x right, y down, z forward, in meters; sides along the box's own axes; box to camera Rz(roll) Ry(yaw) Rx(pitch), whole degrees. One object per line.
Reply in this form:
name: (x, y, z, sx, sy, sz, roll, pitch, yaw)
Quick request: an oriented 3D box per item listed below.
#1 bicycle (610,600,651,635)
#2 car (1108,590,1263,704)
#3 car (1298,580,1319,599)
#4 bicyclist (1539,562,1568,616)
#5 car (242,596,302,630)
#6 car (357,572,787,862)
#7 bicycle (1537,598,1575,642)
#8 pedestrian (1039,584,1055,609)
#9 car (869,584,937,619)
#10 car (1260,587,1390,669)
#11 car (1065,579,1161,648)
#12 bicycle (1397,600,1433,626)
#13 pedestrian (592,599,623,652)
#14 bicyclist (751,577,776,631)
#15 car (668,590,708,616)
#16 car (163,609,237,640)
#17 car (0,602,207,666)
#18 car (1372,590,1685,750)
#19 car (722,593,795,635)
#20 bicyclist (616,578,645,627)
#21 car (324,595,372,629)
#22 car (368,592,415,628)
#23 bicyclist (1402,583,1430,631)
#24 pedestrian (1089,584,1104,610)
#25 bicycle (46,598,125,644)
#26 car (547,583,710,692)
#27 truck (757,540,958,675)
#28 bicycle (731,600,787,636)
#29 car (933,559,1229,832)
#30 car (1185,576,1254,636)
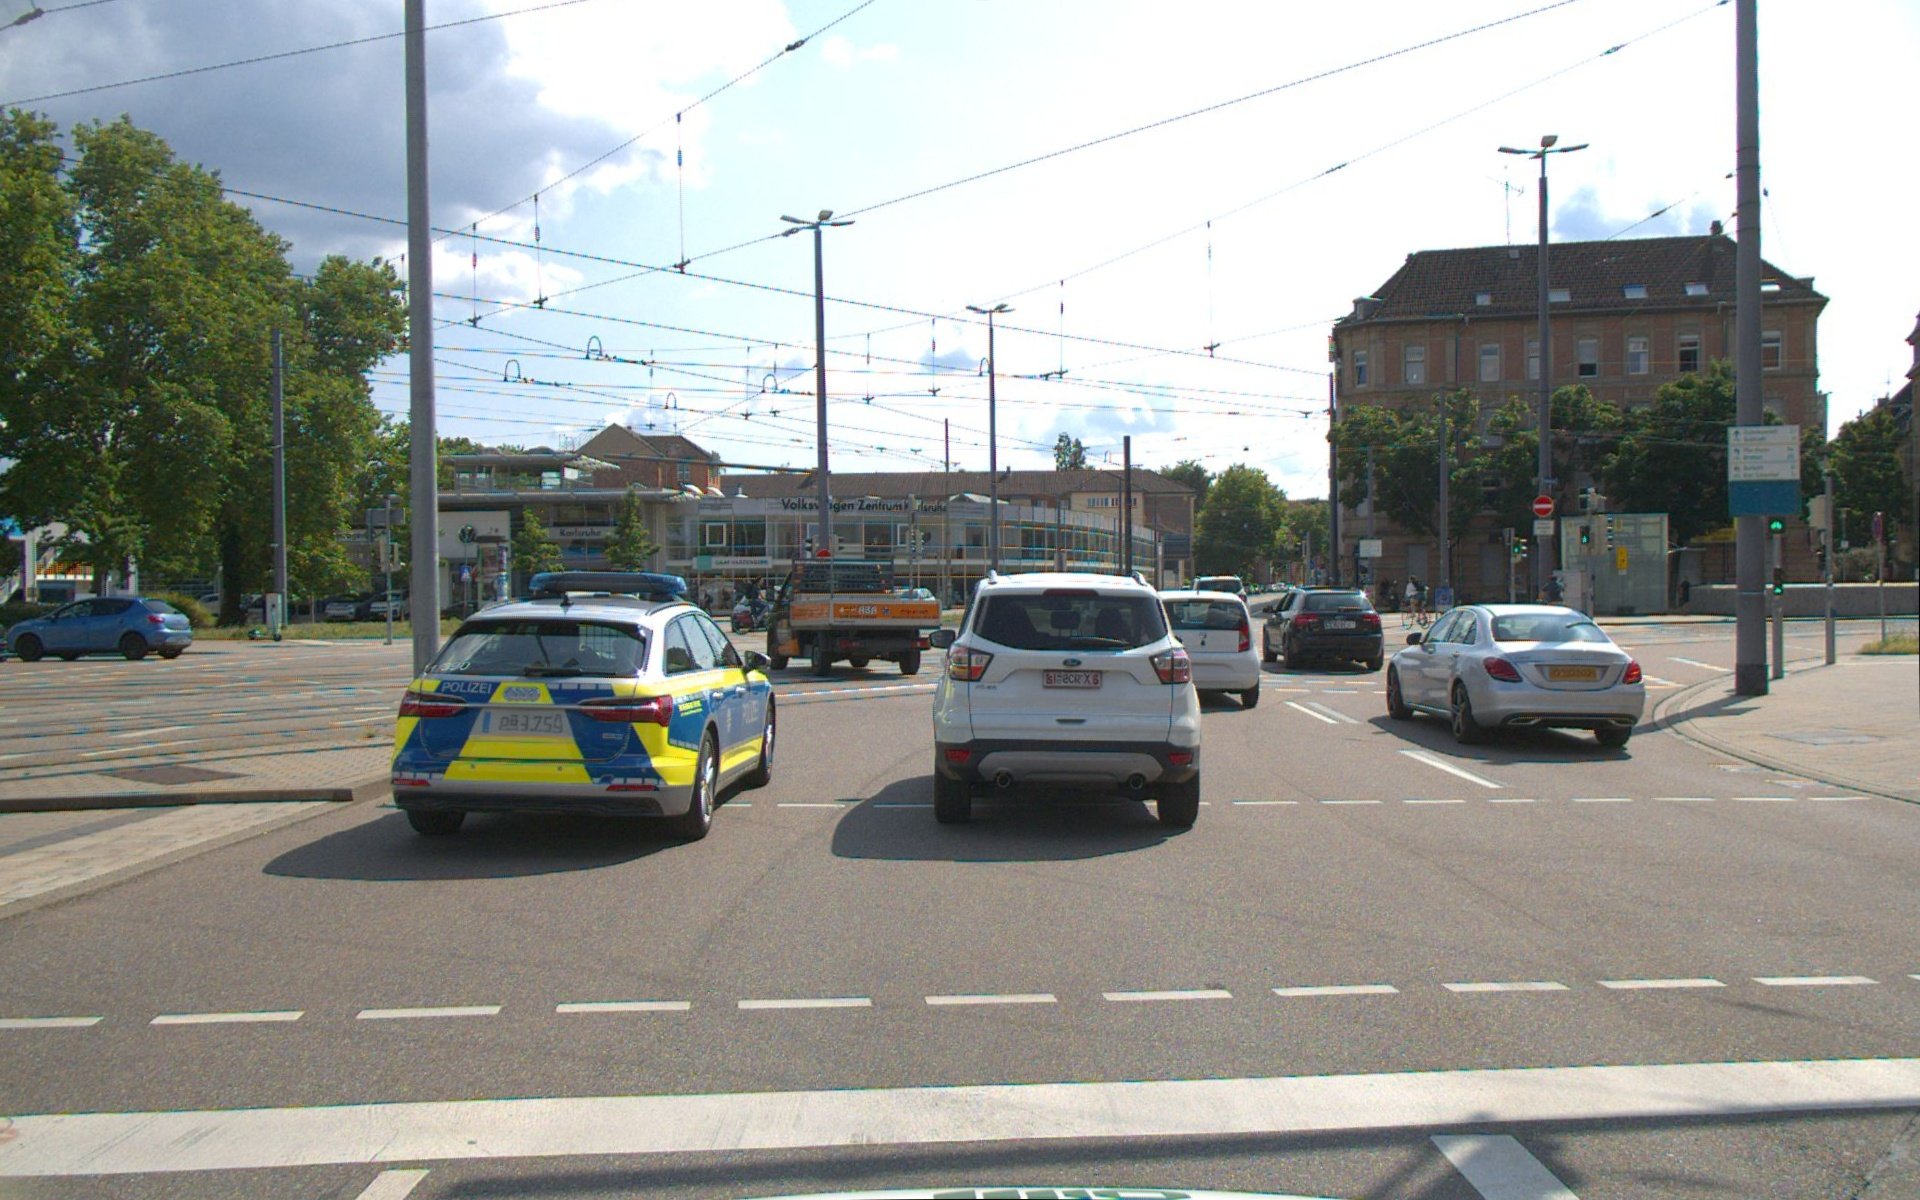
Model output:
bicycle: (-11.912, 0.615, 59.875, 0.743, 1.213, 2.152, -2, 0, 9)
car: (3.084, 0.593, 23.307, 1.615, 1.446, 4.000, 0, 0, 0)
car: (32.242, -0.990, 152.952, 1.797, 1.681, 4.003, 0, 0, 14)
bicyclist: (14.315, -0.266, 39.908, 0.621, 1.241, 0.924, -2, 1, 20)
car: (-41.916, 0.818, 100.877, 1.930, 1.971, 5.061, -2, -1, -6)
car: (-2.383, 0.633, 11.440, 1.841, 1.595, 4.615, 0, 0, 1)
bicycle: (14.380, 0.470, 39.951, 0.829, 0.987, 1.961, -1, 1, 19)
pedestrian: (6.353, -0.252, 121.232, 0.859, 1.767, 0.874, 1, -1, 30)
car: (-2.504, 0.060, 73.995, 1.859, 1.487, 3.971, -2, 0, 17)
car: (6.665, 0.475, 30.585, 1.663, 1.396, 4.134, -1, 0, 3)
car: (3.340, 0.292, 36.671, 1.812, 1.444, 3.679, 0, 0, 0)
bicycle: (14.177, 0.404, 51.573, 0.573, 0.789, 1.620, -1, 0, -4)
pedestrian: (-11.865, 0.849, 55.706, 0.911, 1.774, 0.585, 1, -1, -22)
bicyclist: (-6.523, 0.120, 54.895, 0.652, 1.768, 0.634, 0, 1, -29)
car: (-17.496, 0.203, 106.532, 1.780, 1.560, 3.918, -2, -1, 2)
car: (-49.333, 1.586, 107.457, 3.904, 1.821, 1.842, -2, -1, 2)
car: (-19.586, 0.760, 37.830, 3.905, 1.401, 1.742, 0, 0, 1)
car: (6.240, 0.678, 18.797, 1.891, 1.480, 4.759, 1, 1, 0)
car: (-7.222, 0.485, 59.558, 1.700, 1.397, 3.644, -2, 0, 8)
bicyclist: (-11.918, 0.088, 59.840, 0.743, 1.712, 0.761, -2, 0, 9)
car: (-37.205, 0.734, 100.675, 1.932, 1.971, 4.221, -2, -1, -10)
car: (-34.588, 0.610, 100.692, 1.957, 2.049, 4.221, -2, -1, -10)
bicyclist: (14.201, 0.226, 51.497, 0.596, 1.476, 0.773, -1, 0, -4)
pedestrian: (10.496, -0.227, 127.489, 0.858, 1.956, 0.875, 1, -1, 27)
bicycle: (-27.734, 0.665, 52.490, 2.137, 1.439, 0.807, 0, 1, -21)
car: (-5.125, 0.514, 25.196, 1.821, 1.500, 3.976, -1, 0, -21)
truck: (-2.001, 0.131, 29.963, 2.302, 2.193, 5.822, 0, 0, -18)
bicycle: (-6.651, 0.585, 54.810, 1.755, 1.145, 0.635, 0, 1, -24)
car: (0.730, 0.612, 12.321, 1.790, 1.693, 3.954, 1, 0, -2)
car: (7.537, 0.176, 48.320, 1.797, 1.681, 4.003, 0, 0, 6)
